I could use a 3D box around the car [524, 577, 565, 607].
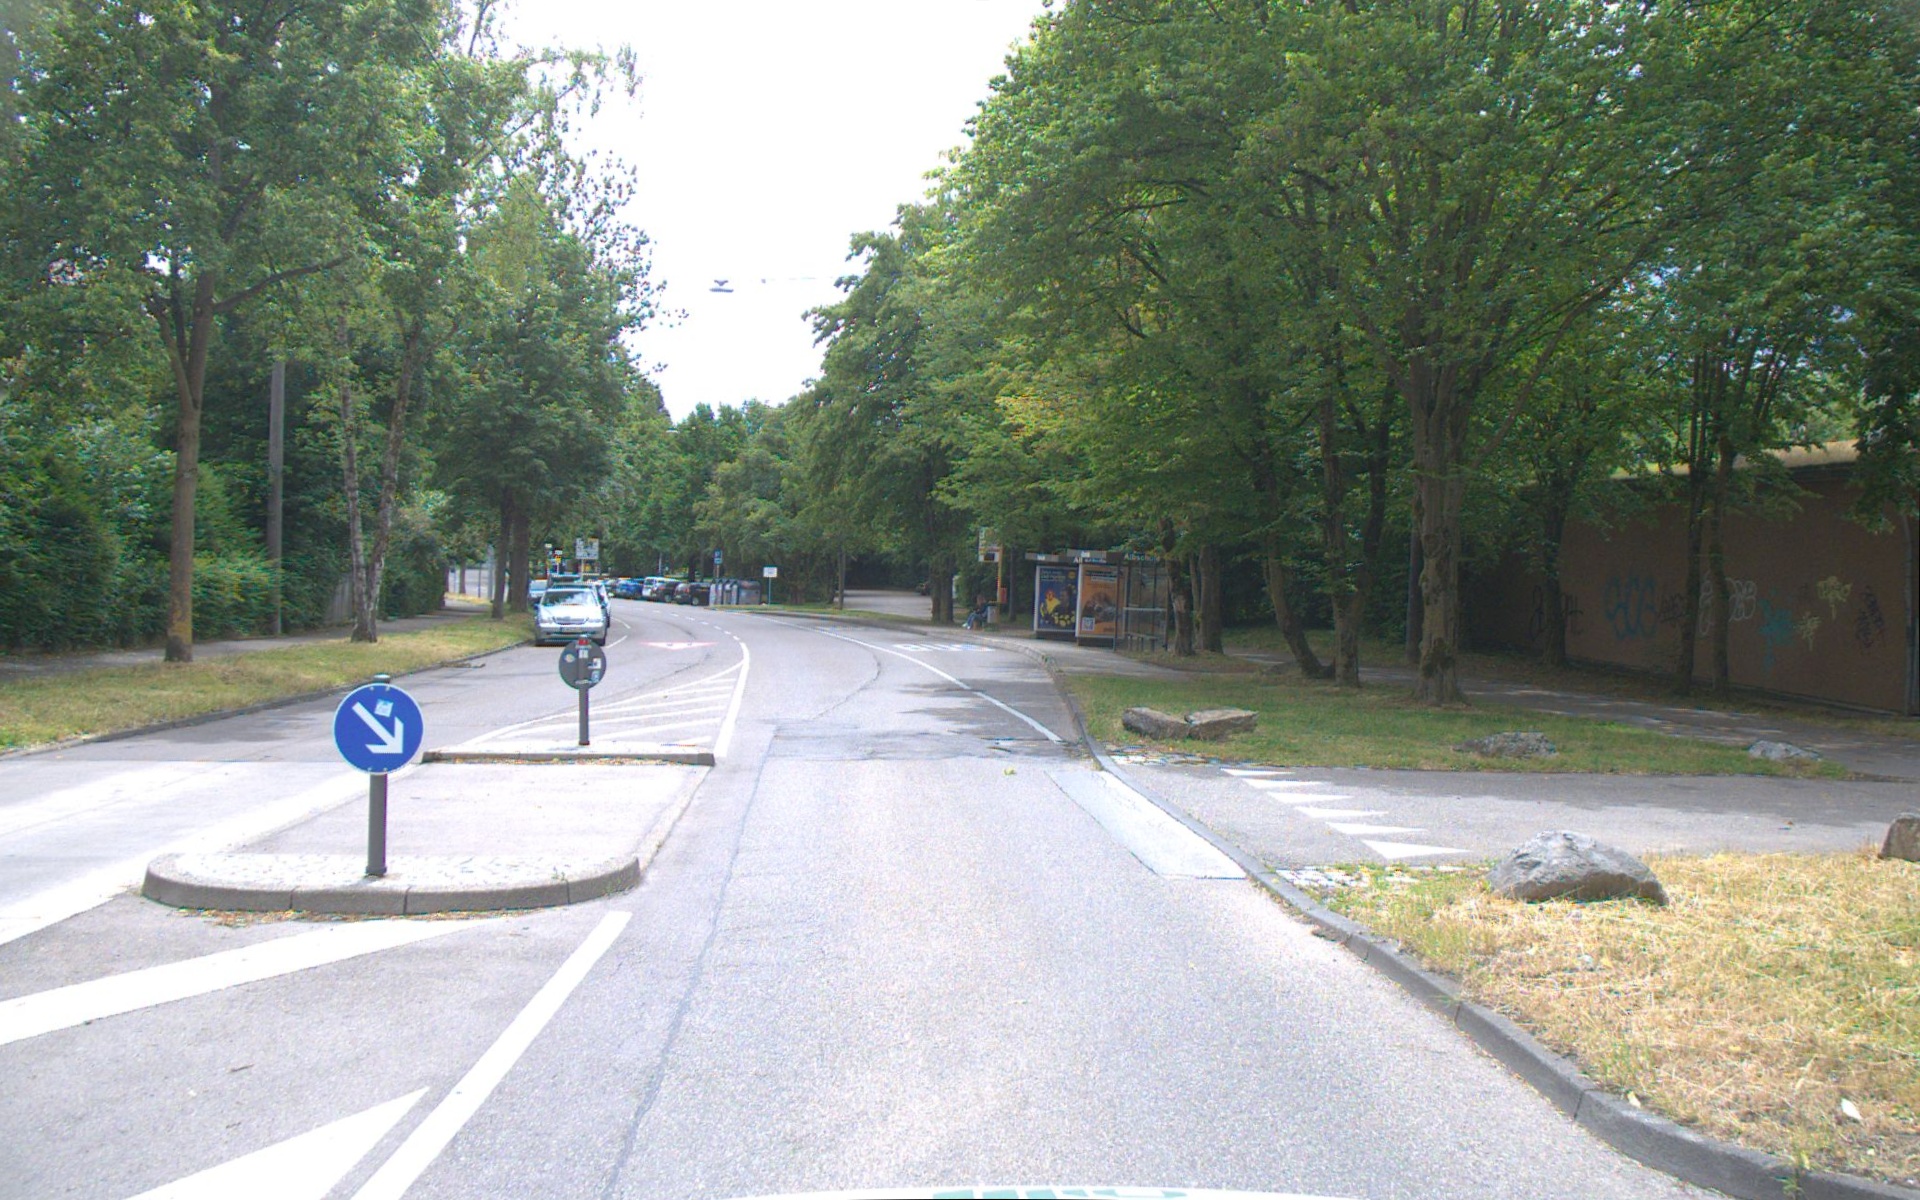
[{"bbox_3d":[-24.123,-0.477,95.944,1.779,1.590,4.239,-2,1,-21],"label":"car"}]

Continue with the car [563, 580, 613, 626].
[{"bbox_3d":[-13.428,0.082,59.847,1.705,1.606,4.129,0,1,-12],"label":"car"}]

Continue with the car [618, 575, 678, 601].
[{"bbox_3d":[-22.319,-0.856,118.431,3.800,1.555,1.719,4,-2,-43],"label":"car"}]

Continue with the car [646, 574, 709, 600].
[{"bbox_3d":[-19.059,-0.867,111.658,3.800,1.493,1.719,4,-1,-43],"label":"car"}]

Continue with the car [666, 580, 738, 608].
[{"bbox_3d":[-16.202,-0.372,103.885,3.967,1.438,2.026,5,0,-43],"label":"car"}]

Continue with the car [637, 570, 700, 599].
[{"bbox_3d":[-20.104,-1.077,114.169,3.800,1.750,1.849,4,-2,-43],"label":"car"}]

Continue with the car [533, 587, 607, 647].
[{"bbox_3d":[-10.038,0.390,42.424,1.707,1.441,4.454,0,1,-15],"label":"car"}]

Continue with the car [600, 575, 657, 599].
[{"bbox_3d":[-24.570,-0.958,122.720,3.800,1.555,1.719,4,-2,-43],"label":"car"}]

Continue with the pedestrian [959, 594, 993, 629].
[{"bbox_3d":[0.552,0.399,57.471,1.046,1.203,0.578,1,0,-15],"label":"pedestrian"}]

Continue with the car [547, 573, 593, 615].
[{"bbox_3d":[-19.031,-0.299,80.533,1.828,1.942,5.059,1,0,-17],"label":"car"}]
